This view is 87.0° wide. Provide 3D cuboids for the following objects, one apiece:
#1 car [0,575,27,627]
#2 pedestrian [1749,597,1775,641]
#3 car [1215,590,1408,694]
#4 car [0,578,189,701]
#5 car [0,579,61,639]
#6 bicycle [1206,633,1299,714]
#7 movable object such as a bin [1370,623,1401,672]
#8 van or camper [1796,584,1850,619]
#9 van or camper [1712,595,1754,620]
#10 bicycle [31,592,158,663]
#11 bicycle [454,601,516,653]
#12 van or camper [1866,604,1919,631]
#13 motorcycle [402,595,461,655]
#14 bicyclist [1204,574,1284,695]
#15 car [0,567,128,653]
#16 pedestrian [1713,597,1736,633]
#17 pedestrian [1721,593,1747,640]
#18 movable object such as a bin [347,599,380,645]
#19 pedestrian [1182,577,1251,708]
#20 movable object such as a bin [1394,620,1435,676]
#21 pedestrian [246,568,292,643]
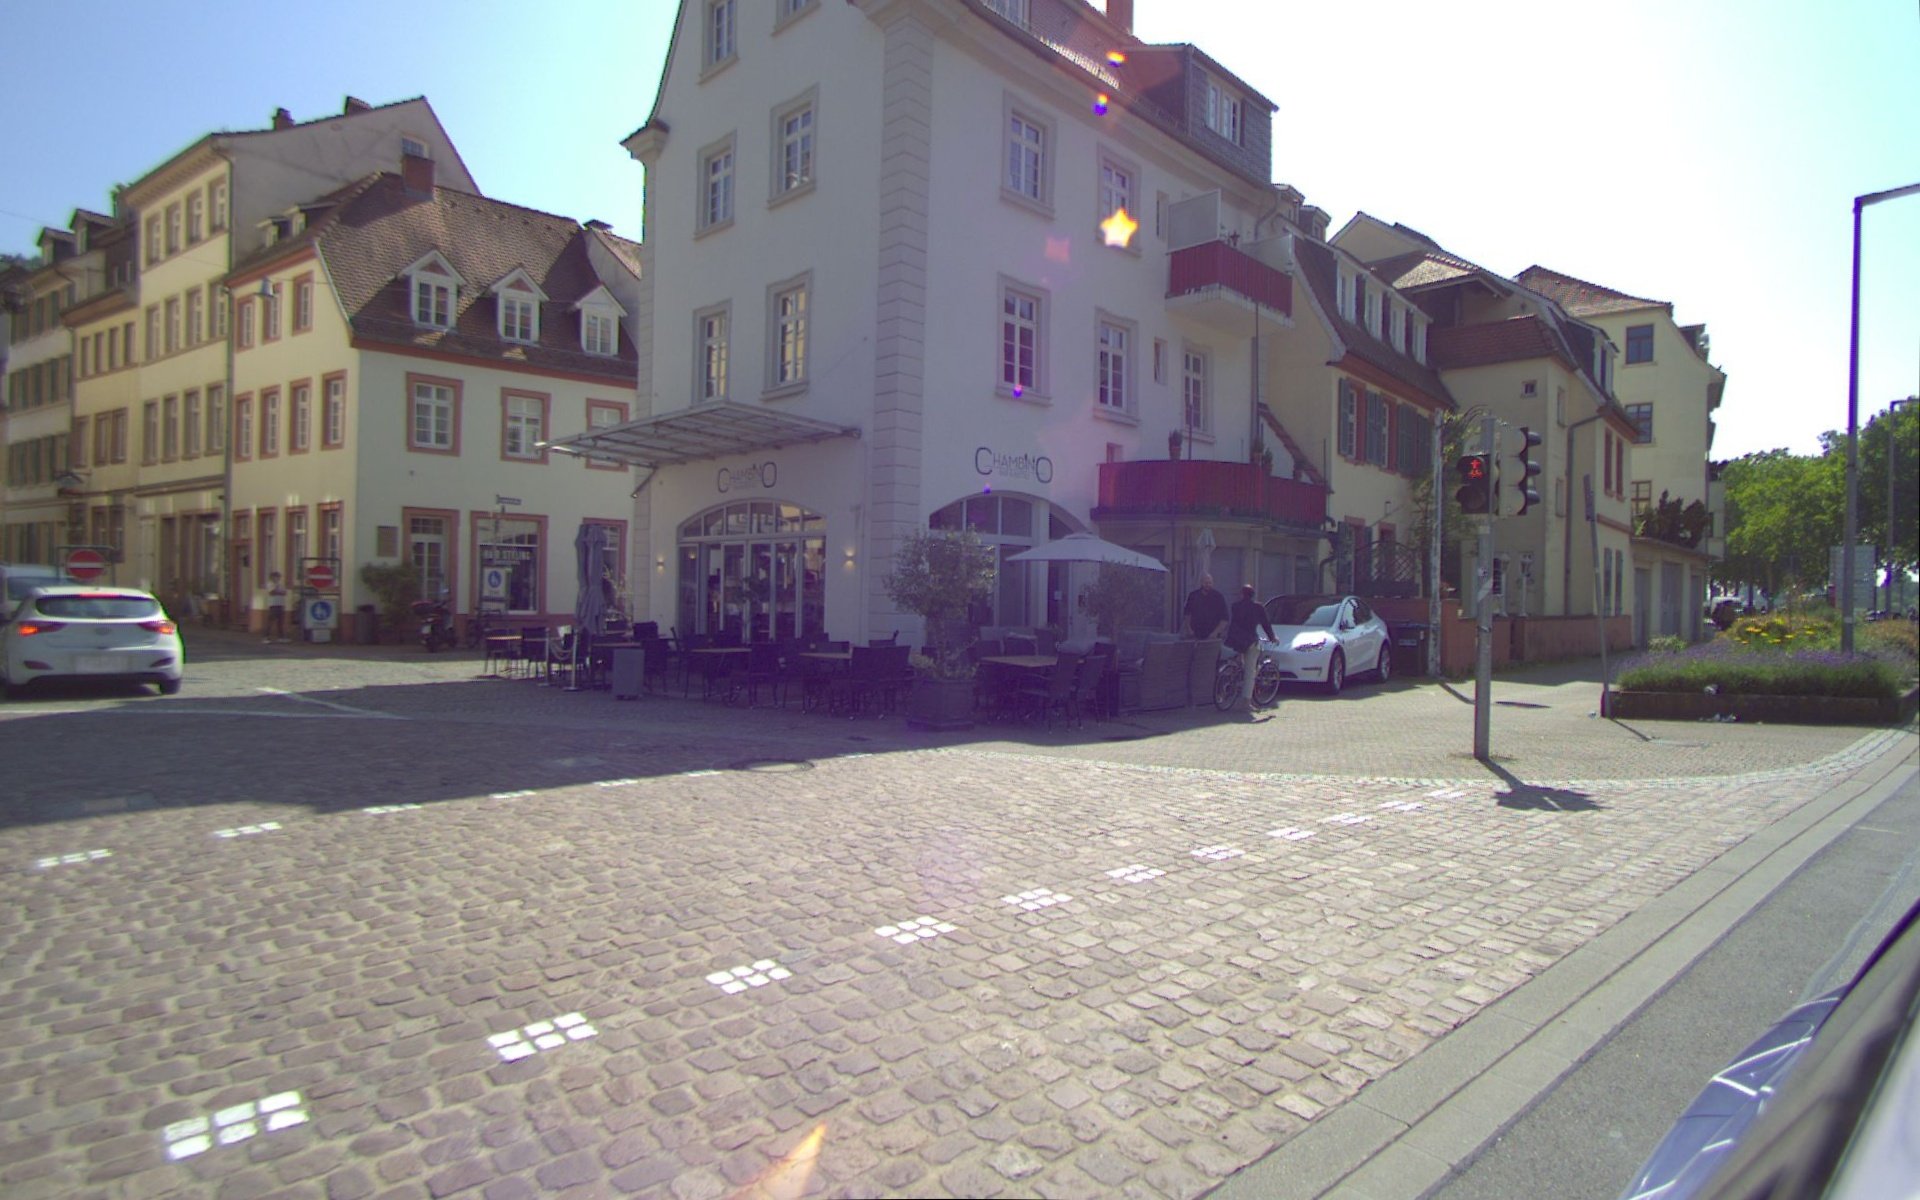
[{"bbox_3d":[-28.166,-0.072,28.615,3.813,1.387,1.827,2,-3,36],"label":"car"},{"bbox_3d":[29.913,0.688,37.753,0.760,1.615,0.686,1,0,39],"label":"pedestrian"},{"bbox_3d":[6.375,0.635,18.005,1.873,1.597,4.663,1,0,38],"label":"car"},{"bbox_3d":[-12.357,0.505,14.199,3.986,1.474,1.804,0,-2,44],"label":"car"},{"bbox_3d":[-24.896,0.154,26.003,3.813,1.387,1.827,2,-3,36],"label":"car"},{"bbox_3d":[4.126,0.995,14.198,0.747,0.976,1.760,0,0,35],"label":"bicycle"},{"bbox_3d":[8.671,0.959,20.626,0.315,0.956,0.495,1,0,-42],"label":"movable object such as a bin"},{"bbox_3d":[66.045,0.097,77.532,2.078,2.589,7.012,1,1,32],"label":"van or camper"},{"bbox_3d":[74.704,0.708,97.876,2.419,2.313,6.138,1,1,30],"label":"van or camper"},{"bbox_3d":[-16.872,0.532,19.761,0.654,1.295,1.742,2,0,36],"label":"bicycle"},{"bbox_3d":[-11.885,0.654,25.312,1.871,1.208,0.630,1,0,39],"label":"bicycle"},{"bbox_3d":[58.013,1.048,62.757,1.986,1.472,4.627,3,2,33],"label":"van or camper"},{"bbox_3d":[-12.731,0.563,24.451,0.748,1.298,2.333,0,2,-14],"label":"motorcycle"},{"bbox_3d":[3.945,0.448,14.015,0.763,1.603,1.076,1,0,33],"label":"bicyclist"},{"bbox_3d":[-19.875,0.173,21.920,3.977,1.616,1.827,2,-3,36],"label":"car"},{"bbox_3d":[38.034,0.742,50.369,0.759,1.734,0.687,5,2,34],"label":"pedestrian"},{"bbox_3d":[29.340,0.609,38.346,0.736,1.720,0.920,2,1,39],"label":"pedestrian"},{"bbox_3d":[-15.032,0.536,25.486,0.588,1.120,0.669,0,1,-43],"label":"movable object such as a bin"},{"bbox_3d":[3.856,0.621,15.206,0.760,1.881,0.601,3,2,39],"label":"pedestrian"},{"bbox_3d":[9.067,0.946,20.183,0.358,1.080,0.642,1,0,-42],"label":"movable object such as a bin"},{"bbox_3d":[-17.400,0.132,25.487,0.692,1.821,0.753,3,2,39],"label":"pedestrian"}]
